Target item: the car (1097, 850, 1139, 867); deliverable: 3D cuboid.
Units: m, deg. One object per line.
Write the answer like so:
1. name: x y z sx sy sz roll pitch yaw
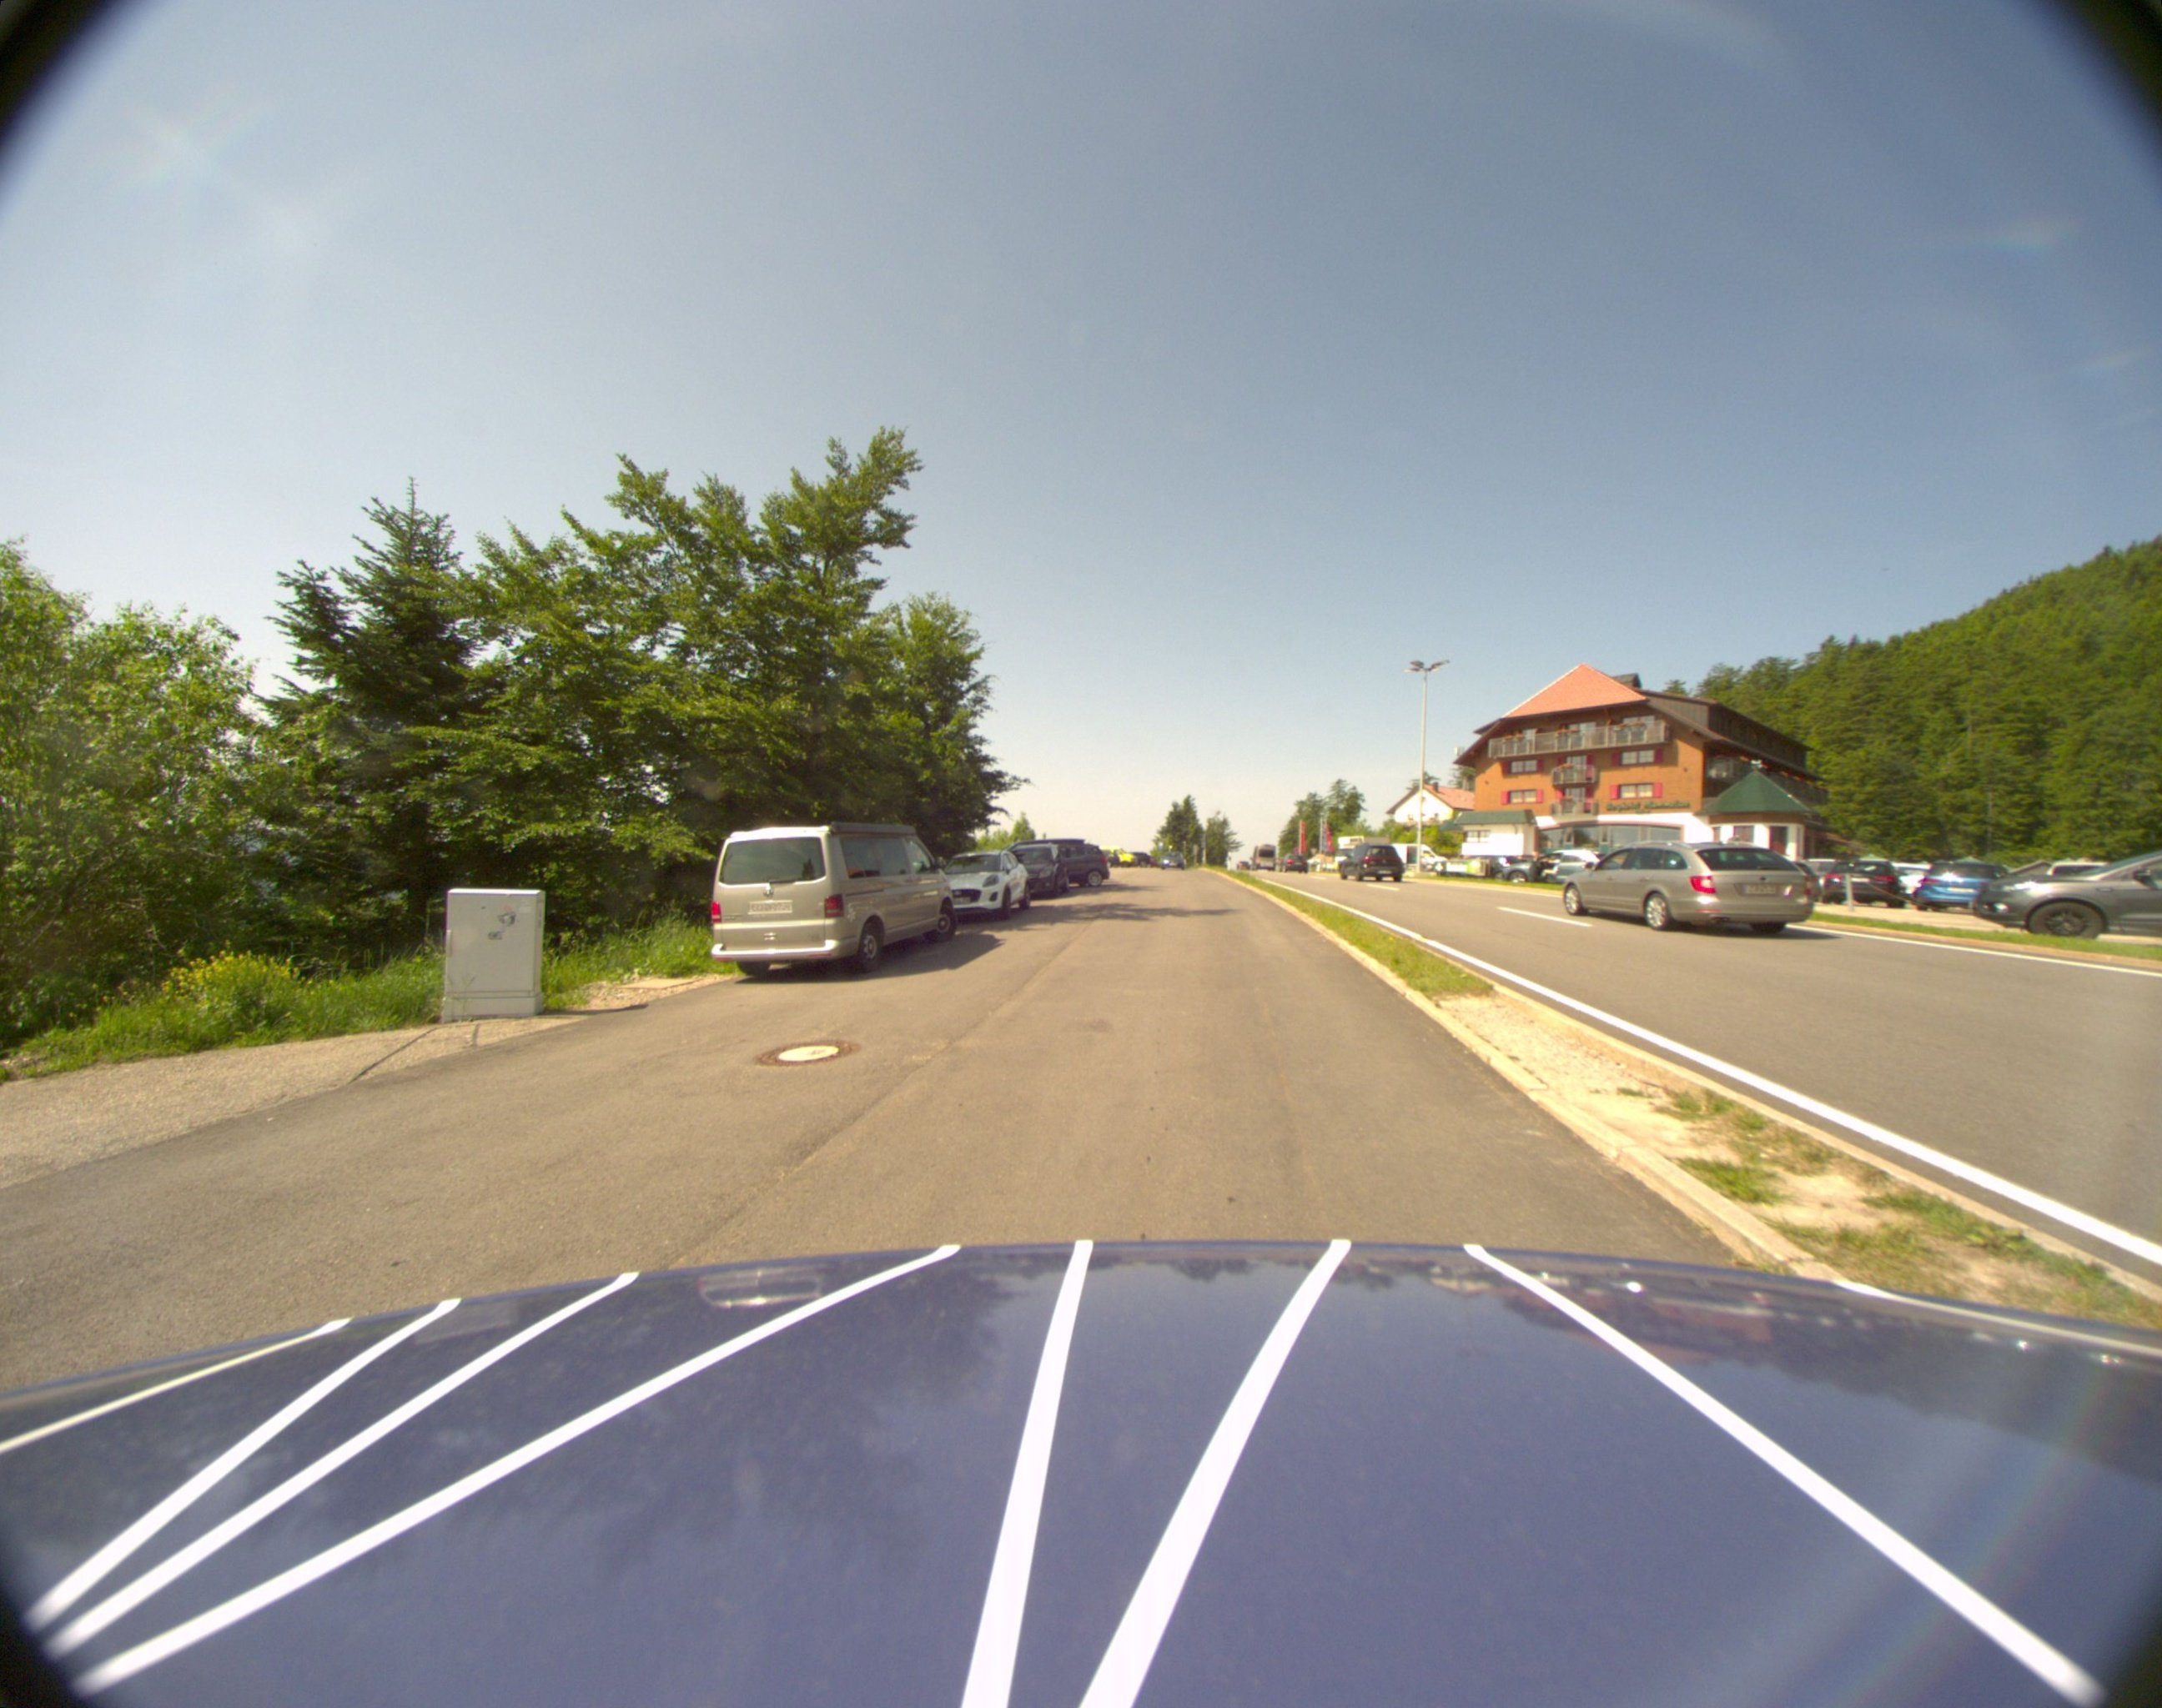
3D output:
1. car: 3.653 0.428 75.078 3.907 1.605 1.877 1 1 9

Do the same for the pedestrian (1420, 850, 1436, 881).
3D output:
1. pedestrian: 23.045 0.766 50.517 0.716 2.002 0.803 0 1 5

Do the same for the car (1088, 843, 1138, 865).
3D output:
1. car: 3.027 -0.017 71.902 4.453 1.914 1.877 1 1 9

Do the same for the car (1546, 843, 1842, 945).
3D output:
1. car: 10.311 0.560 13.383 1.883 1.466 4.716 -1 1 8

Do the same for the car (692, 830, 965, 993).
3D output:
1. car: -3.435 0.688 11.503 1.860 1.924 4.612 -3 0 10

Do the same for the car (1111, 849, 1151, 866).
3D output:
1. car: 5.141 0.325 77.755 3.907 1.605 1.877 1 1 9

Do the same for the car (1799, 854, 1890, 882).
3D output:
1. car: 51.149 0.892 50.990 1.924 1.706 4.082 0 2 -39

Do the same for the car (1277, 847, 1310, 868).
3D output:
1. car: 16.160 0.232 57.898 1.709 1.429 4.451 1 1 7

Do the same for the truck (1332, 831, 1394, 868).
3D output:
1. truck: 30.767 -0.423 82.591 2.876 3.798 9.036 -1 0 44

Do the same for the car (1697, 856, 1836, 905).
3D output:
1. car: 23.181 0.830 25.921 1.719 1.422 4.003 2 1 12

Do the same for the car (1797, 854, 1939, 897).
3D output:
1. car: 33.810 0.874 32.740 1.828 1.619 4.082 0 2 -41

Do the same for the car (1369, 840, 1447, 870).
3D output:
1. car: 32.283 0.069 75.085 6.947 2.775 2.671 1 1 25

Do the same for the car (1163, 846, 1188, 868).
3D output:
1. car: 7.346 0.192 59.155 1.874 1.605 3.914 1 1 7

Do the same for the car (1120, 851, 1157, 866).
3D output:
1. car: 6.364 0.459 84.323 3.907 1.605 1.877 1 1 9

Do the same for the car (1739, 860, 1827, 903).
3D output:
1. car: 27.414 1.010 29.629 4.103 1.504 1.818 0 2 -38

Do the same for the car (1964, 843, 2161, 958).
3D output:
1. car: 16.710 0.714 11.327 1.726 1.646 4.538 0 2 -42

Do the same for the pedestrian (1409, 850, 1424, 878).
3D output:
1. pedestrian: 23.469 0.692 53.104 0.716 2.002 0.803 0 1 5

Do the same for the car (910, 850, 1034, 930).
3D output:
1. car: -2.378 0.736 17.700 1.874 1.538 4.001 -3 1 6

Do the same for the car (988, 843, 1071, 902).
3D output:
1. car: -1.502 0.515 23.856 1.874 1.609 4.001 -3 1 6

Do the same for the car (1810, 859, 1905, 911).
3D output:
1. car: 27.309 1.023 26.704 4.103 1.619 1.818 0 2 -38

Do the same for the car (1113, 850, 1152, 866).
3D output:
1. car: 5.442 0.391 80.350 3.907 1.605 1.877 1 1 9

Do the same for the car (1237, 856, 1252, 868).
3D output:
1. car: 23.259 1.145 108.221 1.720 1.672 4.132 1 1 7

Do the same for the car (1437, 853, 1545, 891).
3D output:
1. car: 20.101 0.840 37.393 1.828 1.619 4.258 0 2 -41

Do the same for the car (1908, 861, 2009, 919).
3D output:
1. car: 27.804 1.077 24.038 4.103 1.619 1.818 0 2 -38

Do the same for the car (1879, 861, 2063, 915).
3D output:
1. car: 31.476 1.136 27.033 1.828 1.619 4.082 0 2 -41

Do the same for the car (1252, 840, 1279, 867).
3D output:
1. car: 19.125 -0.100 79.068 2.015 2.735 5.919 1 1 7

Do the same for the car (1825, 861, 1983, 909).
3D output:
1. car: 32.411 1.147 30.027 1.828 1.619 4.082 0 2 -41

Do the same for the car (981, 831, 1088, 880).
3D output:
1. car: -2.113 0.053 34.201 4.461 1.914 1.874 -3 1 -13

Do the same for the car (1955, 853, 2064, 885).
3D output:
1. car: 56.288 0.861 46.167 1.924 1.706 4.082 0 2 -39

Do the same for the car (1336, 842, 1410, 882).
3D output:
1. car: 12.883 0.309 33.820 1.997 1.638 4.569 1 1 7

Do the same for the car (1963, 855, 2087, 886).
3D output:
1. car: 59.827 0.996 48.291 1.924 1.706 4.831 0 2 -39

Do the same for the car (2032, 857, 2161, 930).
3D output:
1. car: 27.251 0.979 20.466 4.103 1.706 1.914 0 2 -40

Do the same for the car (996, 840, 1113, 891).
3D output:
1. car: -1.037 0.397 28.215 4.001 1.609 1.874 -3 1 -13

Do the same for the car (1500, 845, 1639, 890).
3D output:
1. car: 19.422 0.486 30.358 1.828 1.619 4.258 0 2 -41

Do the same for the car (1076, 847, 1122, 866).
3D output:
1. car: 1.639 0.239 69.338 3.907 1.605 1.877 1 1 9
